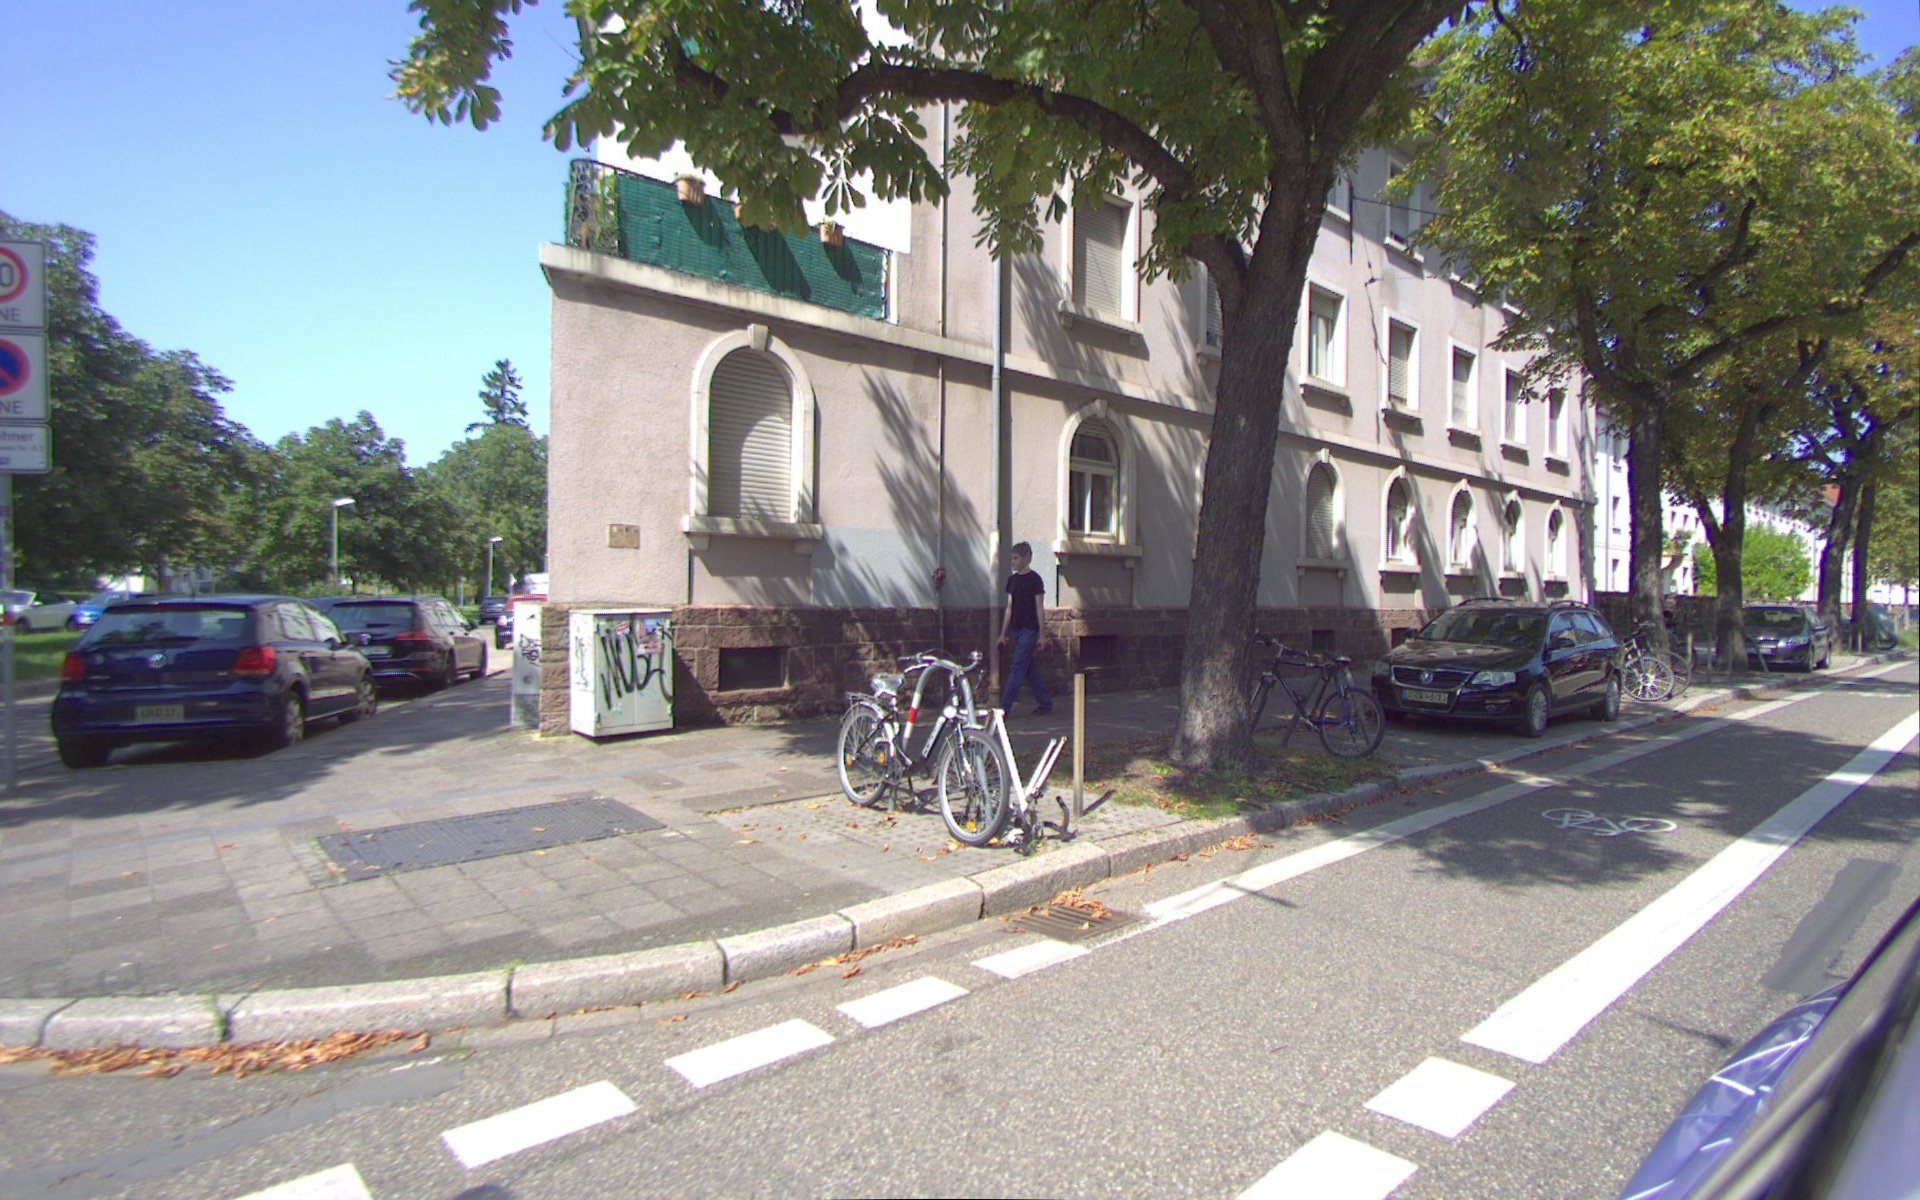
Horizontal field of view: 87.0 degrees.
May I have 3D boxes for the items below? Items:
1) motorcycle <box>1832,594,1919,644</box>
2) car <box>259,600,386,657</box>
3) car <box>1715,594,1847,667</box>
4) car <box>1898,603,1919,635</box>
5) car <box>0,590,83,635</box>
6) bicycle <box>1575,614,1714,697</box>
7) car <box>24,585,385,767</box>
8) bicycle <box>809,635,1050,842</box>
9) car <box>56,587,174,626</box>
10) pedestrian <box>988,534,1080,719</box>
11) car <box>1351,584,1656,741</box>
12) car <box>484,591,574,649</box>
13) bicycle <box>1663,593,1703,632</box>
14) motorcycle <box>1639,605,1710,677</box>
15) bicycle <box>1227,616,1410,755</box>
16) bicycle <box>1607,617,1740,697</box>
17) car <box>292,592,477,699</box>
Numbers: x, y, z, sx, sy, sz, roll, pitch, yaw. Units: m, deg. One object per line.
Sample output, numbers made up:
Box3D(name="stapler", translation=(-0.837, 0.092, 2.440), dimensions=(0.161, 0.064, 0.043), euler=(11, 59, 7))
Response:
Box3D(name="motorcycle", translation=(31.313, 0.637, 34.579), dimensions=(0.950, 1.559, 2.347), euler=(0, 2, 0))
Box3D(name="car", translation=(-17.230, 0.722, 27.554), dimensions=(1.725, 1.365, 3.959), euler=(-1, 1, -13))
Box3D(name="car", translation=(19.517, 0.725, 24.011), dimensions=(4.043, 1.552, 1.843), euler=(3, -1, -42))
Box3D(name="car", translation=(47.003, 0.932, 49.032), dimensions=(4.757, 1.496, 1.895), euler=(0, 0, -42))
Box3D(name="car", translation=(-28.786, 0.354, 30.687), dimensions=(1.665, 1.295, 3.895), euler=(-1, 1, -13))
Box3D(name="bicycle", translation=(10.303, 0.805, 15.298), dimensions=(0.369, 1.164, 1.728), euler=(1, 0, -35))
Box3D(name="car", translation=(-6.907, 0.568, 9.728), dimensions=(1.725, 1.365, 3.617), euler=(-1, 1, -18))
Box3D(name="bicycle", translation=(-0.246, 0.778, 6.313), dimensions=(0.556, 1.045, 1.716), euler=(0, 0, -40))
Box3D(name="car", translation=(-30.237, 0.189, 36.356), dimensions=(1.665, 1.295, 3.895), euler=(-1, 1, -13))
Box3D(name="pedestrian", translation=(0.795, 0.267, 10.961), dimensions=(0.701, 1.916, 0.708), euler=(0, 0, -40))
Box3D(name="car", translation=(6.856, 0.631, 12.513), dimensions=(4.698, 1.551, 1.843), euler=(0, 2, -42))
Box3D(name="car", translation=(-12.039, 0.505, 28.493), dimensions=(1.725, 1.467, 3.959), euler=(-1, 1, -14))
Box3D(name="bicycle", translation=(25.984, 0.439, 36.367), dimensions=(2.326, 1.375, 0.595), euler=(0, 0, -39))
Box3D(name="motorcycle", translation=(13.524, 0.738, 19.131), dimensions=(2.140, 1.271, 0.711), euler=(1, 0, -44))
Box3D(name="bicycle", translation=(3.322, 0.745, 9.525), dimensions=(0.369, 1.151, 1.728), euler=(0, 0, -35))
Box3D(name="bicycle", translation=(10.762, 0.826, 15.315), dimensions=(0.391, 1.118, 1.611), euler=(1, 0, -35))
Box3D(name="car", translation=(-8.464, 0.581, 15.203), dimensions=(1.725, 1.365, 3.617), euler=(-1, 1, -18))
